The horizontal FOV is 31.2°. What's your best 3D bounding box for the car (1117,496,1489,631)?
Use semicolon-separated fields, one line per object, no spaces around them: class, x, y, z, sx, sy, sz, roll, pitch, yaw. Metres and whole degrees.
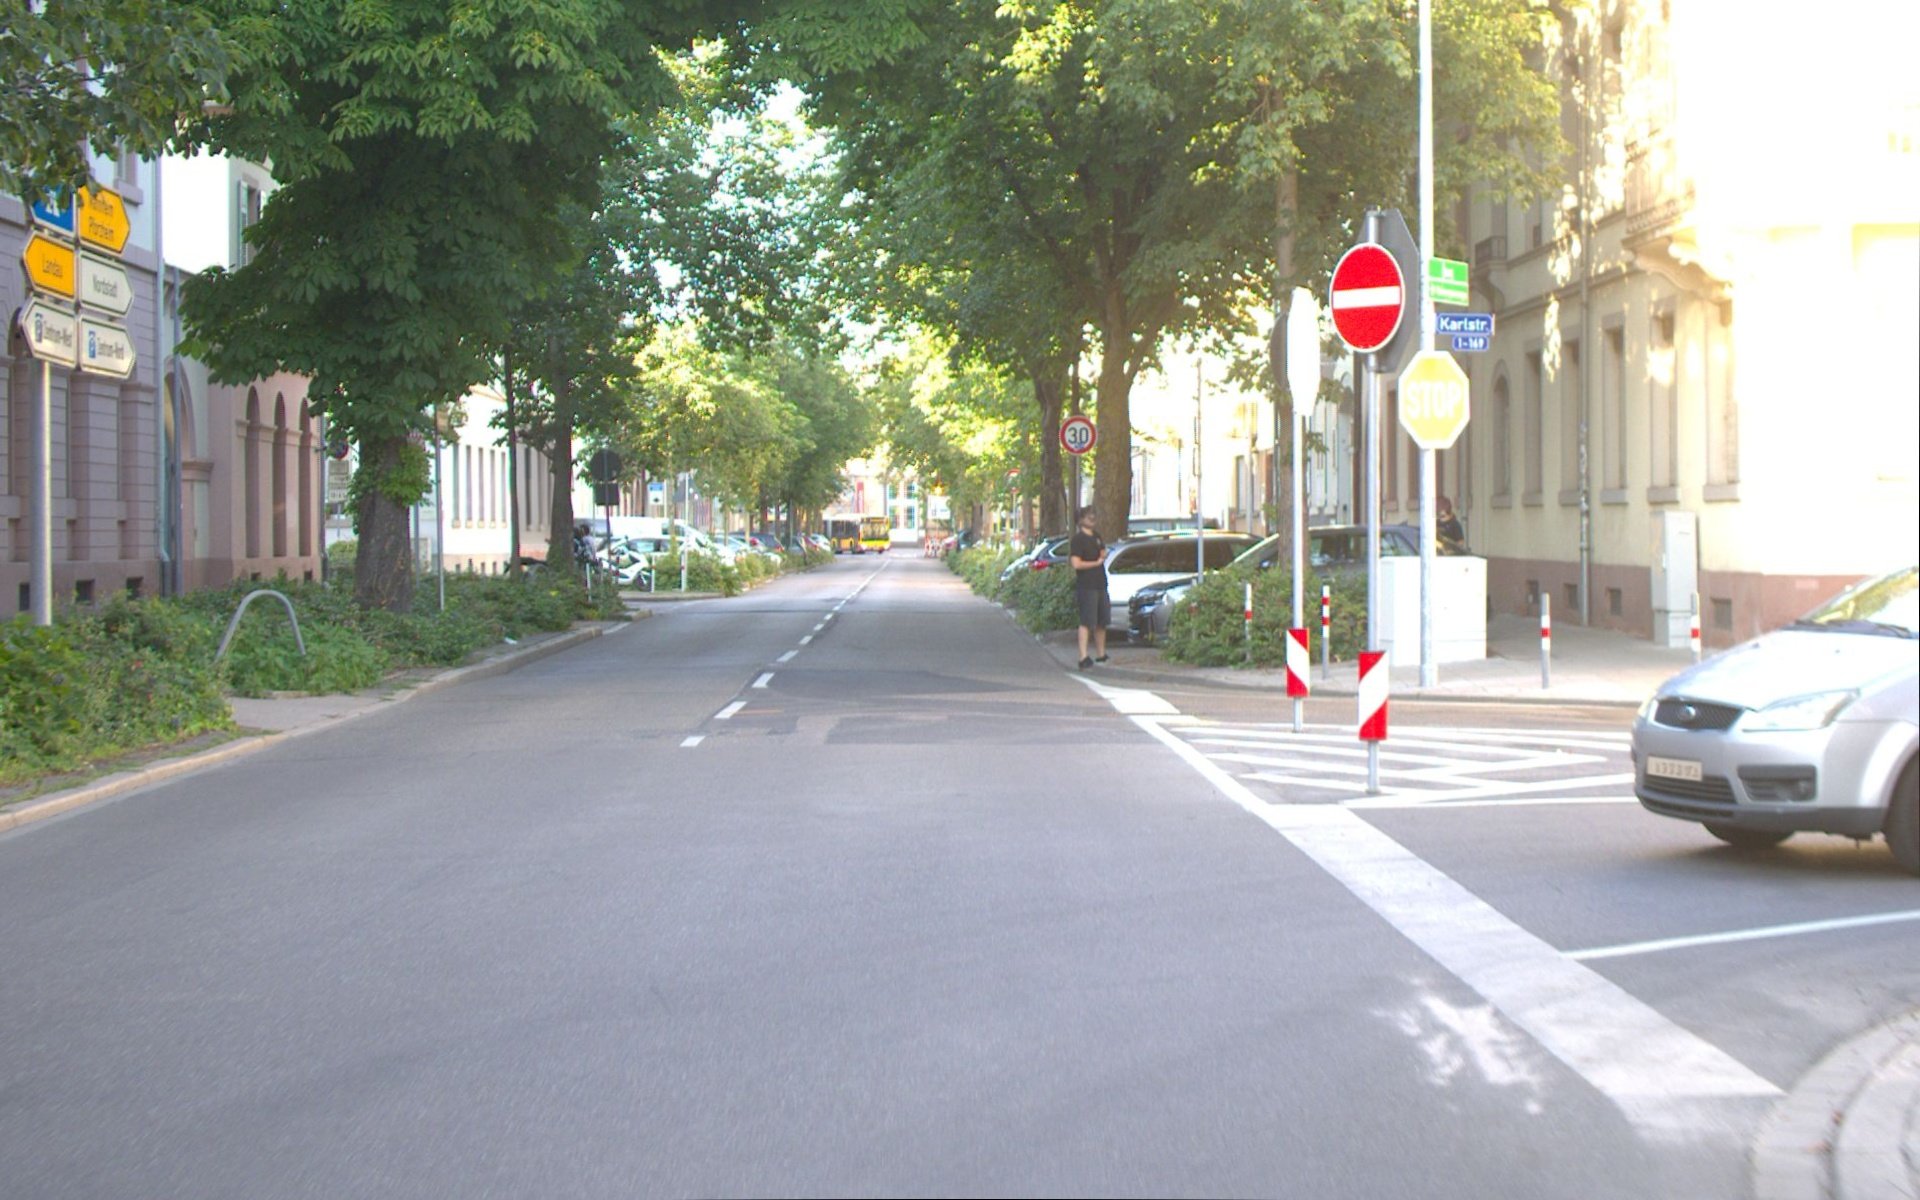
car;3.946;-0.443;40.041;4.107;1.485;1.850;0;2;-2

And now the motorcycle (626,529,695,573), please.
motorcycle;-7.341;-1.195;84.288;1.636;1.064;0.656;0;1;-1

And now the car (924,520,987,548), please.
car;-0.300;-4.446;231.167;3.988;1.831;2.000;0;1;7

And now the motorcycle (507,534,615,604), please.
motorcycle;-7.385;-0.581;63.685;1.919;1.254;0.591;-1;1;-1

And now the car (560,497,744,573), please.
car;-8.829;-1.887;98.854;5.064;2.076;2.263;-1;2;-1

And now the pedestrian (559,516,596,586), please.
pedestrian;-7.642;-0.972;68.676;0.655;1.390;0.607;1;1;-1

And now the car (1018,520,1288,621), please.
car;2.960;-0.468;53.298;4.014;1.475;1.781;-1;1;-1

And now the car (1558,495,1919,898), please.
car;5.110;0.348;15.629;4.337;1.648;1.886;-1;1;-19

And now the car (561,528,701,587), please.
car;-8.918;-1.156;93.475;3.725;1.503;1.873;-1;2;-4

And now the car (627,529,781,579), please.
car;-8.841;-1.614;118.935;5.064;1.611;2.263;-1;2;3

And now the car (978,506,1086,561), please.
car;2.687;-2.476;127.961;3.987;2.007;2.000;0;1;3

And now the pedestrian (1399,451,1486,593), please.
pedestrian;5.860;-0.953;41.795;0.943;1.700;0.782;-1;3;1

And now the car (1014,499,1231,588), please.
car;3.094;-1.102;66.120;4.014;1.617;1.781;-1;1;-1

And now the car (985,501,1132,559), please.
car;3.095;-2.232;109.076;4.593;1.755;2.222;-1;2;1

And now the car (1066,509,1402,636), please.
car;3.545;-0.380;45.010;4.192;1.475;1.852;-2;2;0

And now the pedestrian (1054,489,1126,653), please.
pedestrian;1.498;-0.339;39.518;0.794;1.862;0.751;0;1;4

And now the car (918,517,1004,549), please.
car;0.027;-3.215;163.743;3.986;1.437;1.697;-1;2;-2

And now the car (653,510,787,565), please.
car;-9.411;-2.466;135.175;5.064;2.076;2.263;-1;2;1
